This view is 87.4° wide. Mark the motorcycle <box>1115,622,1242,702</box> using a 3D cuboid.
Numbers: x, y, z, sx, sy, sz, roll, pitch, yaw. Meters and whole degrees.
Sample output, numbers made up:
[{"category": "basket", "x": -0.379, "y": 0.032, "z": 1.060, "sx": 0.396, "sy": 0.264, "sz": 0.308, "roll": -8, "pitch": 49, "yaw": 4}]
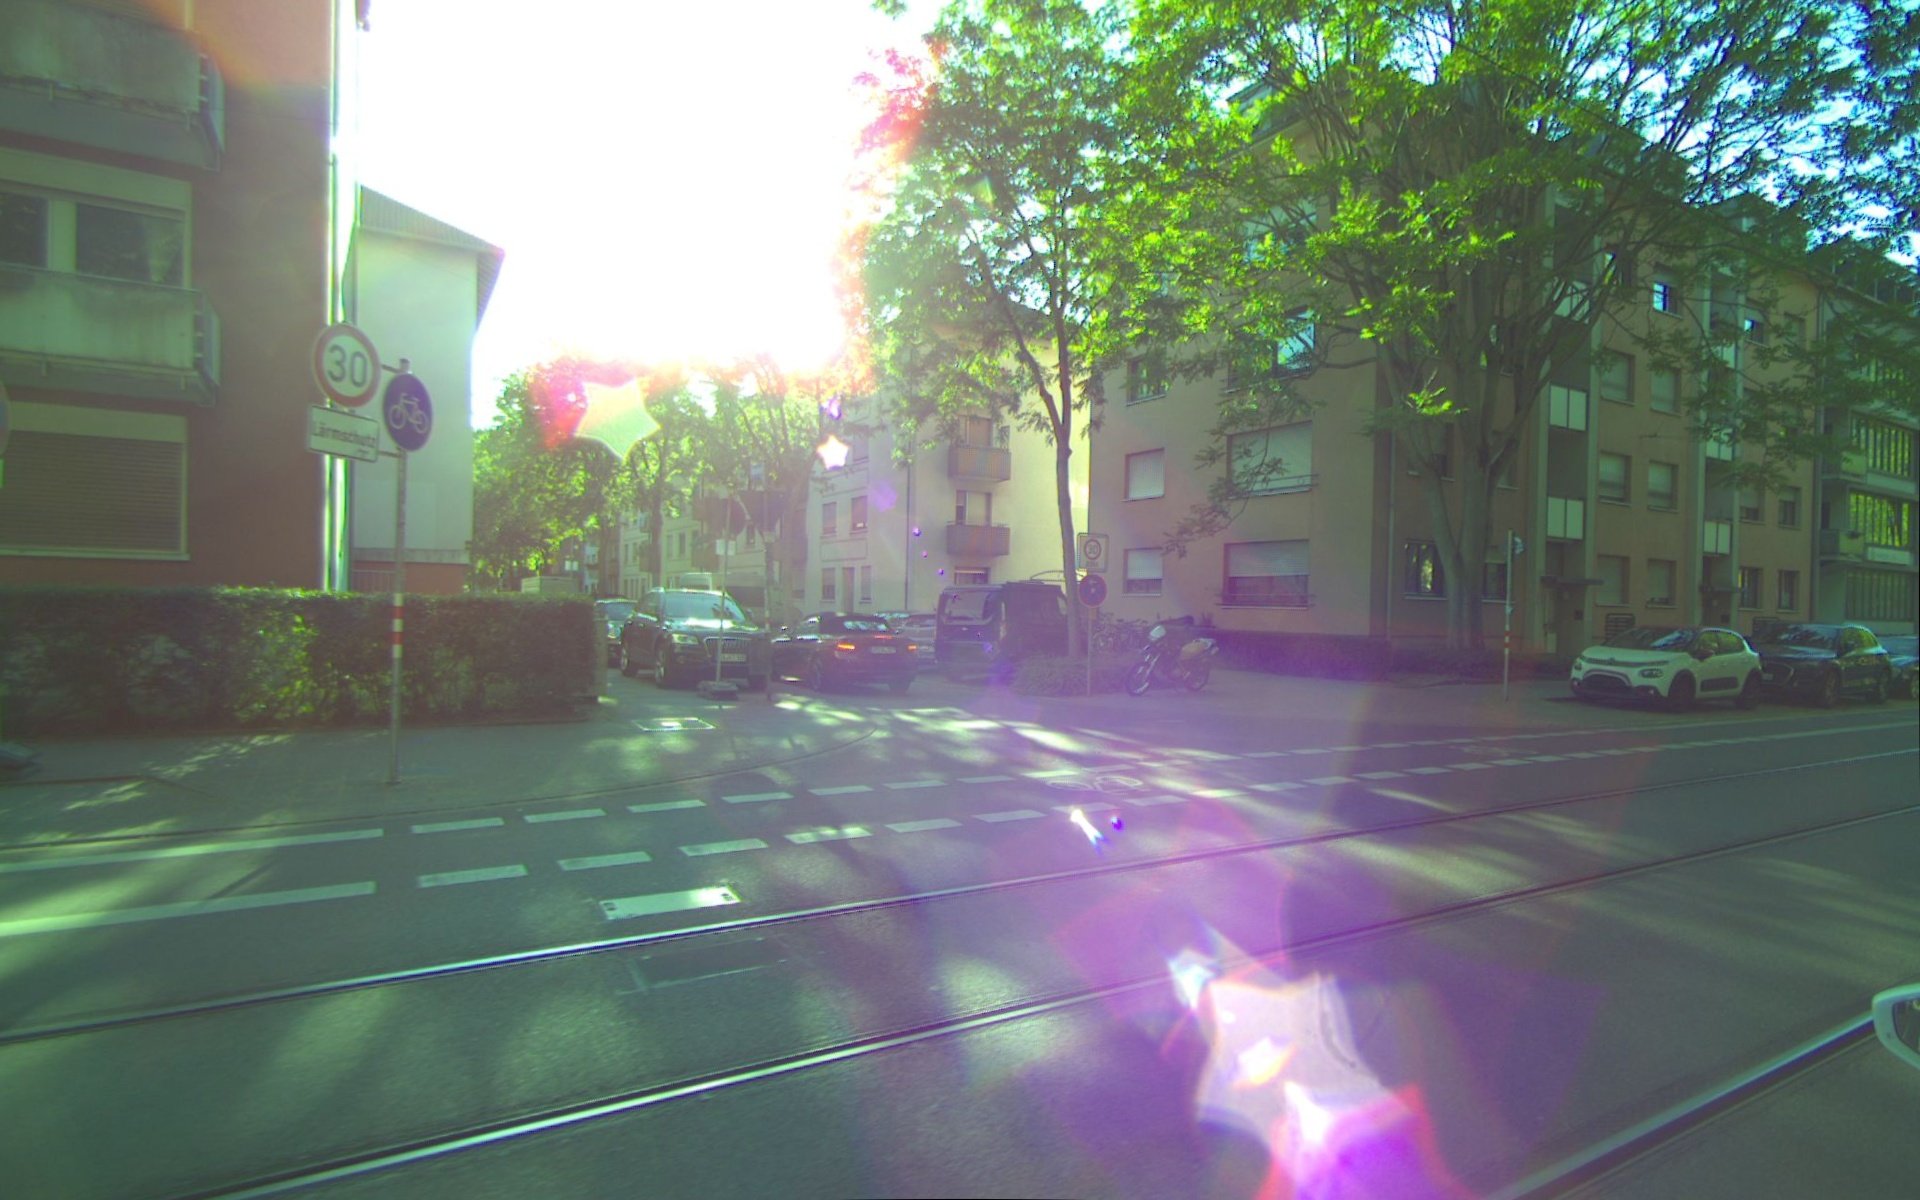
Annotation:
[{"category": "motorcycle", "x": 4.010, "y": 1.089, "z": 18.334, "sx": 2.323, "sy": 1.298, "sz": 0.897, "roll": -1, "pitch": 1, "yaw": -33}]

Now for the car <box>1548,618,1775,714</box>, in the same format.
[{"category": "car", "x": 12.847, "y": 1.156, "z": 18.364, "sx": 4.041, "sy": 1.498, "sz": 1.798, "roll": 2, "pitch": 2, "yaw": -30}]

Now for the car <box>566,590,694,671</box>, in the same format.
[{"category": "car", "x": -7.580, "y": 0.648, "z": 22.775, "sx": 1.915, "sy": 1.628, "sz": 4.288, "roll": 3, "pitch": -1, "yaw": -29}]

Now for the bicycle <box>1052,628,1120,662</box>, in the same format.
[{"category": "bicycle", "x": 3.447, "y": 1.223, "z": 27.464, "sx": 1.848, "sy": 0.883, "sz": 0.605, "roll": 1, "pitch": 0, "yaw": -31}]

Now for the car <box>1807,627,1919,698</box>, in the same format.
[{"category": "car", "x": 21.846, "y": 1.411, "z": 23.560, "sx": 4.334, "sy": 1.420, "sz": 1.728, "roll": 1, "pitch": 2, "yaw": -32}]

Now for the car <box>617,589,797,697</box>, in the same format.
[{"category": "car", "x": -4.594, "y": 0.688, "z": 17.727, "sx": 1.915, "sy": 1.628, "sz": 4.512, "roll": 3, "pitch": -1, "yaw": -29}]

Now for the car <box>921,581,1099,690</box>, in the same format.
[{"category": "car", "x": 1.260, "y": 0.746, "z": 22.548, "sx": 1.965, "sy": 2.151, "sz": 4.713, "roll": 2, "pitch": 0, "yaw": 31}]

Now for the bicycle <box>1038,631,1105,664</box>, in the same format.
[{"category": "bicycle", "x": 3.109, "y": 1.311, "z": 28.025, "sx": 1.848, "sy": 0.883, "sz": 0.637, "roll": 1, "pitch": 0, "yaw": -31}]

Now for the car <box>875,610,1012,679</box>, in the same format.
[{"category": "car", "x": -0.328, "y": 1.041, "z": 24.740, "sx": 1.723, "sy": 1.538, "sz": 3.608, "roll": 1, "pitch": -1, "yaw": 31}]

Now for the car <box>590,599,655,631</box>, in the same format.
[{"category": "car", "x": -22.481, "y": 0.992, "z": 67.089, "sx": 1.793, "sy": 2.040, "sz": 3.995, "roll": 1, "pitch": 0, "yaw": 27}]

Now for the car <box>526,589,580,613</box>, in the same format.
[{"category": "car", "x": -34.870, "y": 0.108, "z": 86.135, "sx": 1.963, "sy": 2.040, "sz": 3.995, "roll": 1, "pitch": 0, "yaw": 27}]

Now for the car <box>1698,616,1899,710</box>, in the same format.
[{"category": "car", "x": 17.294, "y": 1.230, "z": 20.661, "sx": 4.536, "sy": 1.632, "sz": 1.771, "roll": 1, "pitch": 3, "yaw": -32}]

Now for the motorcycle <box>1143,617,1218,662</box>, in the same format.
[{"category": "motorcycle", "x": 5.884, "y": 1.044, "z": 26.805, "sx": 2.043, "sy": 1.144, "sz": 0.691, "roll": 1, "pitch": 0, "yaw": -31}]

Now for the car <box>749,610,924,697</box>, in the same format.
[{"category": "car", "x": -2.460, "y": 0.947, "z": 19.055, "sx": 1.777, "sy": 1.407, "sz": 4.202, "roll": 3, "pitch": -1, "yaw": -30}]

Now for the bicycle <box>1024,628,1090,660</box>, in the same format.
[{"category": "bicycle", "x": 2.768, "y": 1.241, "z": 28.606, "sx": 1.849, "sy": 0.862, "sz": 0.637, "roll": 1, "pitch": -1, "yaw": -31}]

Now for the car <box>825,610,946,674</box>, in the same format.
[{"category": "car", "x": -1.937, "y": 1.093, "z": 26.987, "sx": 1.606, "sy": 1.564, "sz": 3.312, "roll": 1, "pitch": 0, "yaw": 31}]

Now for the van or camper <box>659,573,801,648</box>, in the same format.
[{"category": "van or camper", "x": -8.775, "y": 0.417, "z": 38.892, "sx": 2.217, "sy": 2.664, "sz": 5.540, "roll": 1, "pitch": -1, "yaw": 28}]
